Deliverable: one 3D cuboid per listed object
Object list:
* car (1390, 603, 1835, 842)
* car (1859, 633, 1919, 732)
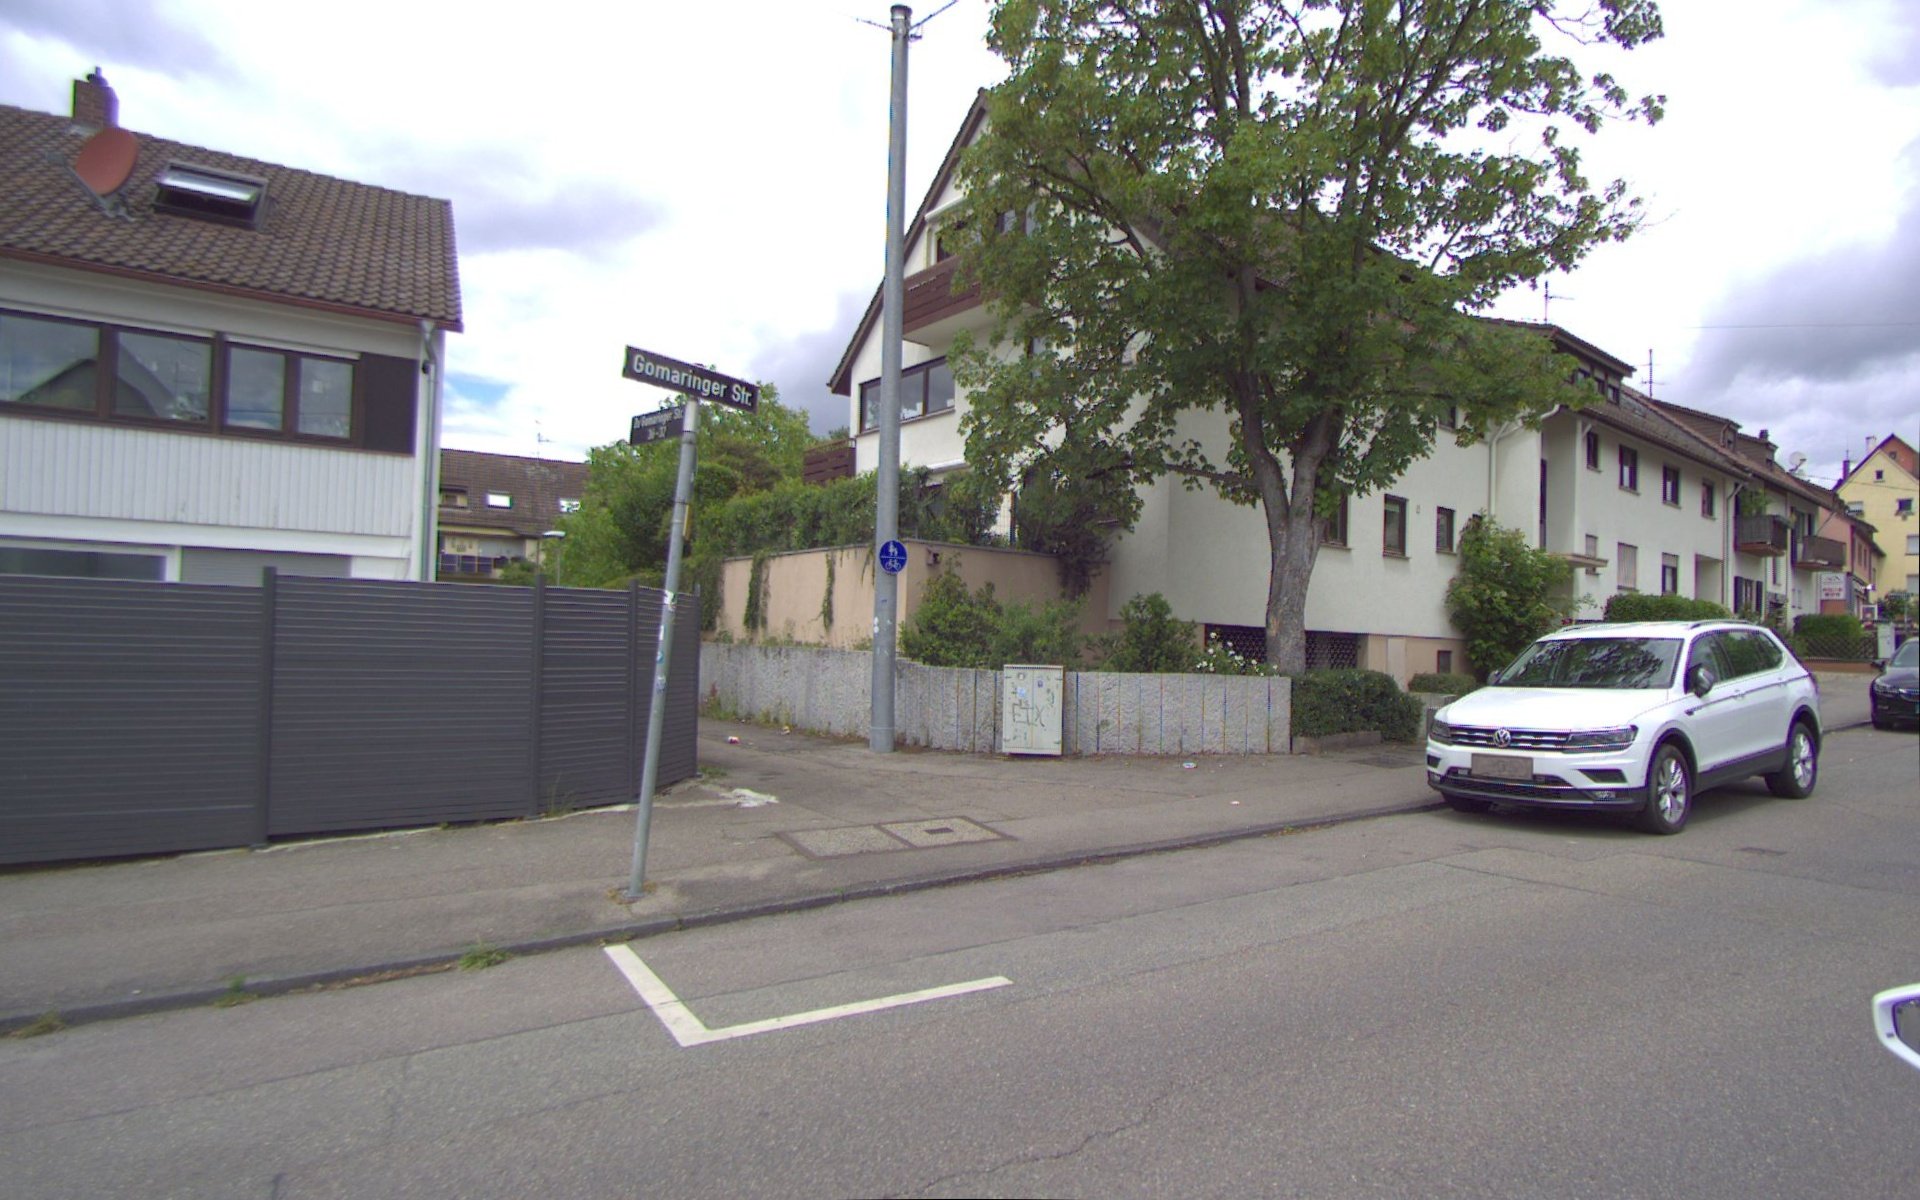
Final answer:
[{"bbox_3d":[6.185,0.974,9.365,4.527,1.736,1.839,1,-3,-34],"label":"car"},{"bbox_3d":[16.036,1.267,16.165,4.044,1.457,1.748,1,-3,-40],"label":"car"}]
